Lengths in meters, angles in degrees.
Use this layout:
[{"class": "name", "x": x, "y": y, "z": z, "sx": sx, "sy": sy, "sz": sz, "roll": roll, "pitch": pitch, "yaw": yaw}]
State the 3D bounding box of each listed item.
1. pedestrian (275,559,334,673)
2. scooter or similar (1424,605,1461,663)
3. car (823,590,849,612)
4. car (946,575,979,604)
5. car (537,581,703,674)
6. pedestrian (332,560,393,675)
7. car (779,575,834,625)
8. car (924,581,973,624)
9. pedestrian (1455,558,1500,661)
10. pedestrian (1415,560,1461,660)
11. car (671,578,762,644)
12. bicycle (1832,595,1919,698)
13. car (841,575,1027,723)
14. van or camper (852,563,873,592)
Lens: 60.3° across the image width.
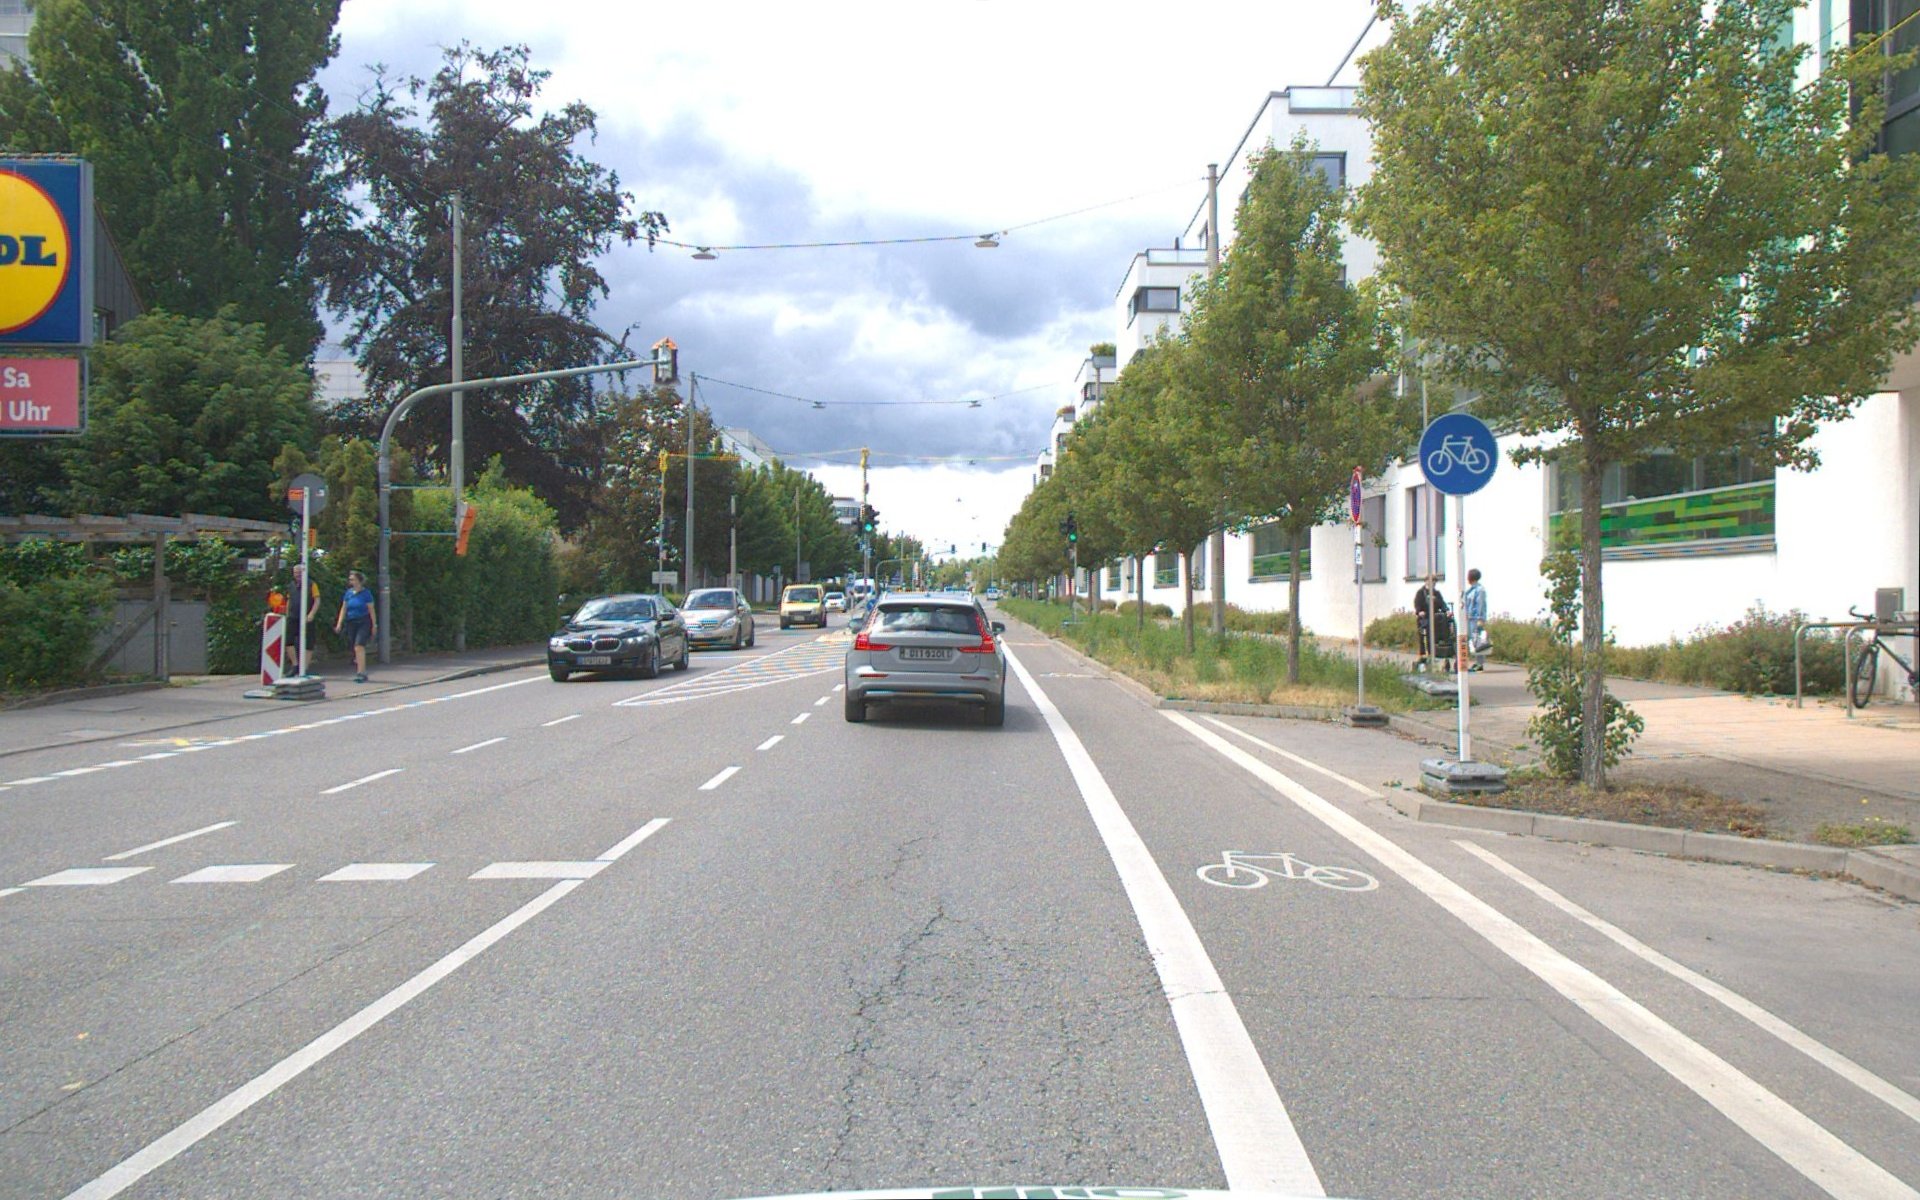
[{"class": "pedestrian", "x": -11.023, "y": 0.265, "z": 27.832, "sx": 0.667, "sy": 1.887, "sz": 0.707, "roll": -1, "pitch": 0, "yaw": 0}, {"class": "scooter or similar", "x": 8.012, "y": 0.557, "z": 27.480, "sx": 0.413, "sy": 0.921, "sz": 0.682, "roll": -1, "pitch": 1, "yaw": 0}, {"class": "car", "x": -9.099, "y": 0.051, "z": 121.687, "sx": 1.627, "sy": 1.541, "sz": 4.000, "roll": 0, "pitch": 1, "yaw": 0}, {"class": "car", "x": 0.120, "y": -0.592, "z": 91.631, "sx": 1.807, "sy": 1.539, "sz": 4.000, "roll": 1, "pitch": 1, "yaw": -1}, {"class": "car", "x": -6.043, "y": 0.429, "z": 29.996, "sx": 1.953, "sy": 1.424, "sz": 4.811, "roll": -3, "pitch": 1, "yaw": 0}, {"class": "pedestrian", "x": -10.054, "y": 0.283, "z": 27.856, "sx": 0.667, "sy": 1.887, "sz": 0.892, "roll": -1, "pitch": 0, "yaw": 0}, {"class": "car", "x": -6.254, "y": -0.027, "z": 67.767, "sx": 1.803, "sy": 1.938, "sz": 4.686, "roll": -1, "pitch": 1, "yaw": 0}, {"class": "car", "x": -0.439, "y": 0.059, "z": 63.261, "sx": 1.816, "sy": 1.539, "sz": 4.000, "roll": 1, "pitch": 1, "yaw": -1}, {"class": "pedestrian", "x": 8.647, "y": 0.155, "z": 27.628, "sx": 0.539, "sy": 1.683, "sz": 0.607, "roll": -1, "pitch": 1, "yaw": 0}, {"class": "pedestrian", "x": 8.109, "y": 0.165, "z": 28.080, "sx": 0.592, "sy": 1.683, "sz": 0.552, "roll": -1, "pitch": 1, "yaw": 0}, {"class": "car", "x": -6.362, "y": 0.244, "z": 43.615, "sx": 1.713, "sy": 1.582, "sz": 4.402, "roll": -1, "pitch": 1, "yaw": 0}, {"class": "bicycle", "x": 10.259, "y": 0.494, "z": 18.063, "sx": 1.439, "sy": 1.064, "sz": 0.306, "roll": -1, "pitch": 1, "yaw": -13}, {"class": "car", "x": -0.205, "y": 0.501, "z": 19.906, "sx": 1.815, "sy": 1.539, "sz": 4.003, "roll": 1, "pitch": 1, "yaw": 5}, {"class": "van or camper", "x": -9.586, "y": -2.248, "z": 162.852, "sx": 1.954, "sy": 2.781, "sz": 6.048, "roll": -1, "pitch": 1, "yaw": -4}]
